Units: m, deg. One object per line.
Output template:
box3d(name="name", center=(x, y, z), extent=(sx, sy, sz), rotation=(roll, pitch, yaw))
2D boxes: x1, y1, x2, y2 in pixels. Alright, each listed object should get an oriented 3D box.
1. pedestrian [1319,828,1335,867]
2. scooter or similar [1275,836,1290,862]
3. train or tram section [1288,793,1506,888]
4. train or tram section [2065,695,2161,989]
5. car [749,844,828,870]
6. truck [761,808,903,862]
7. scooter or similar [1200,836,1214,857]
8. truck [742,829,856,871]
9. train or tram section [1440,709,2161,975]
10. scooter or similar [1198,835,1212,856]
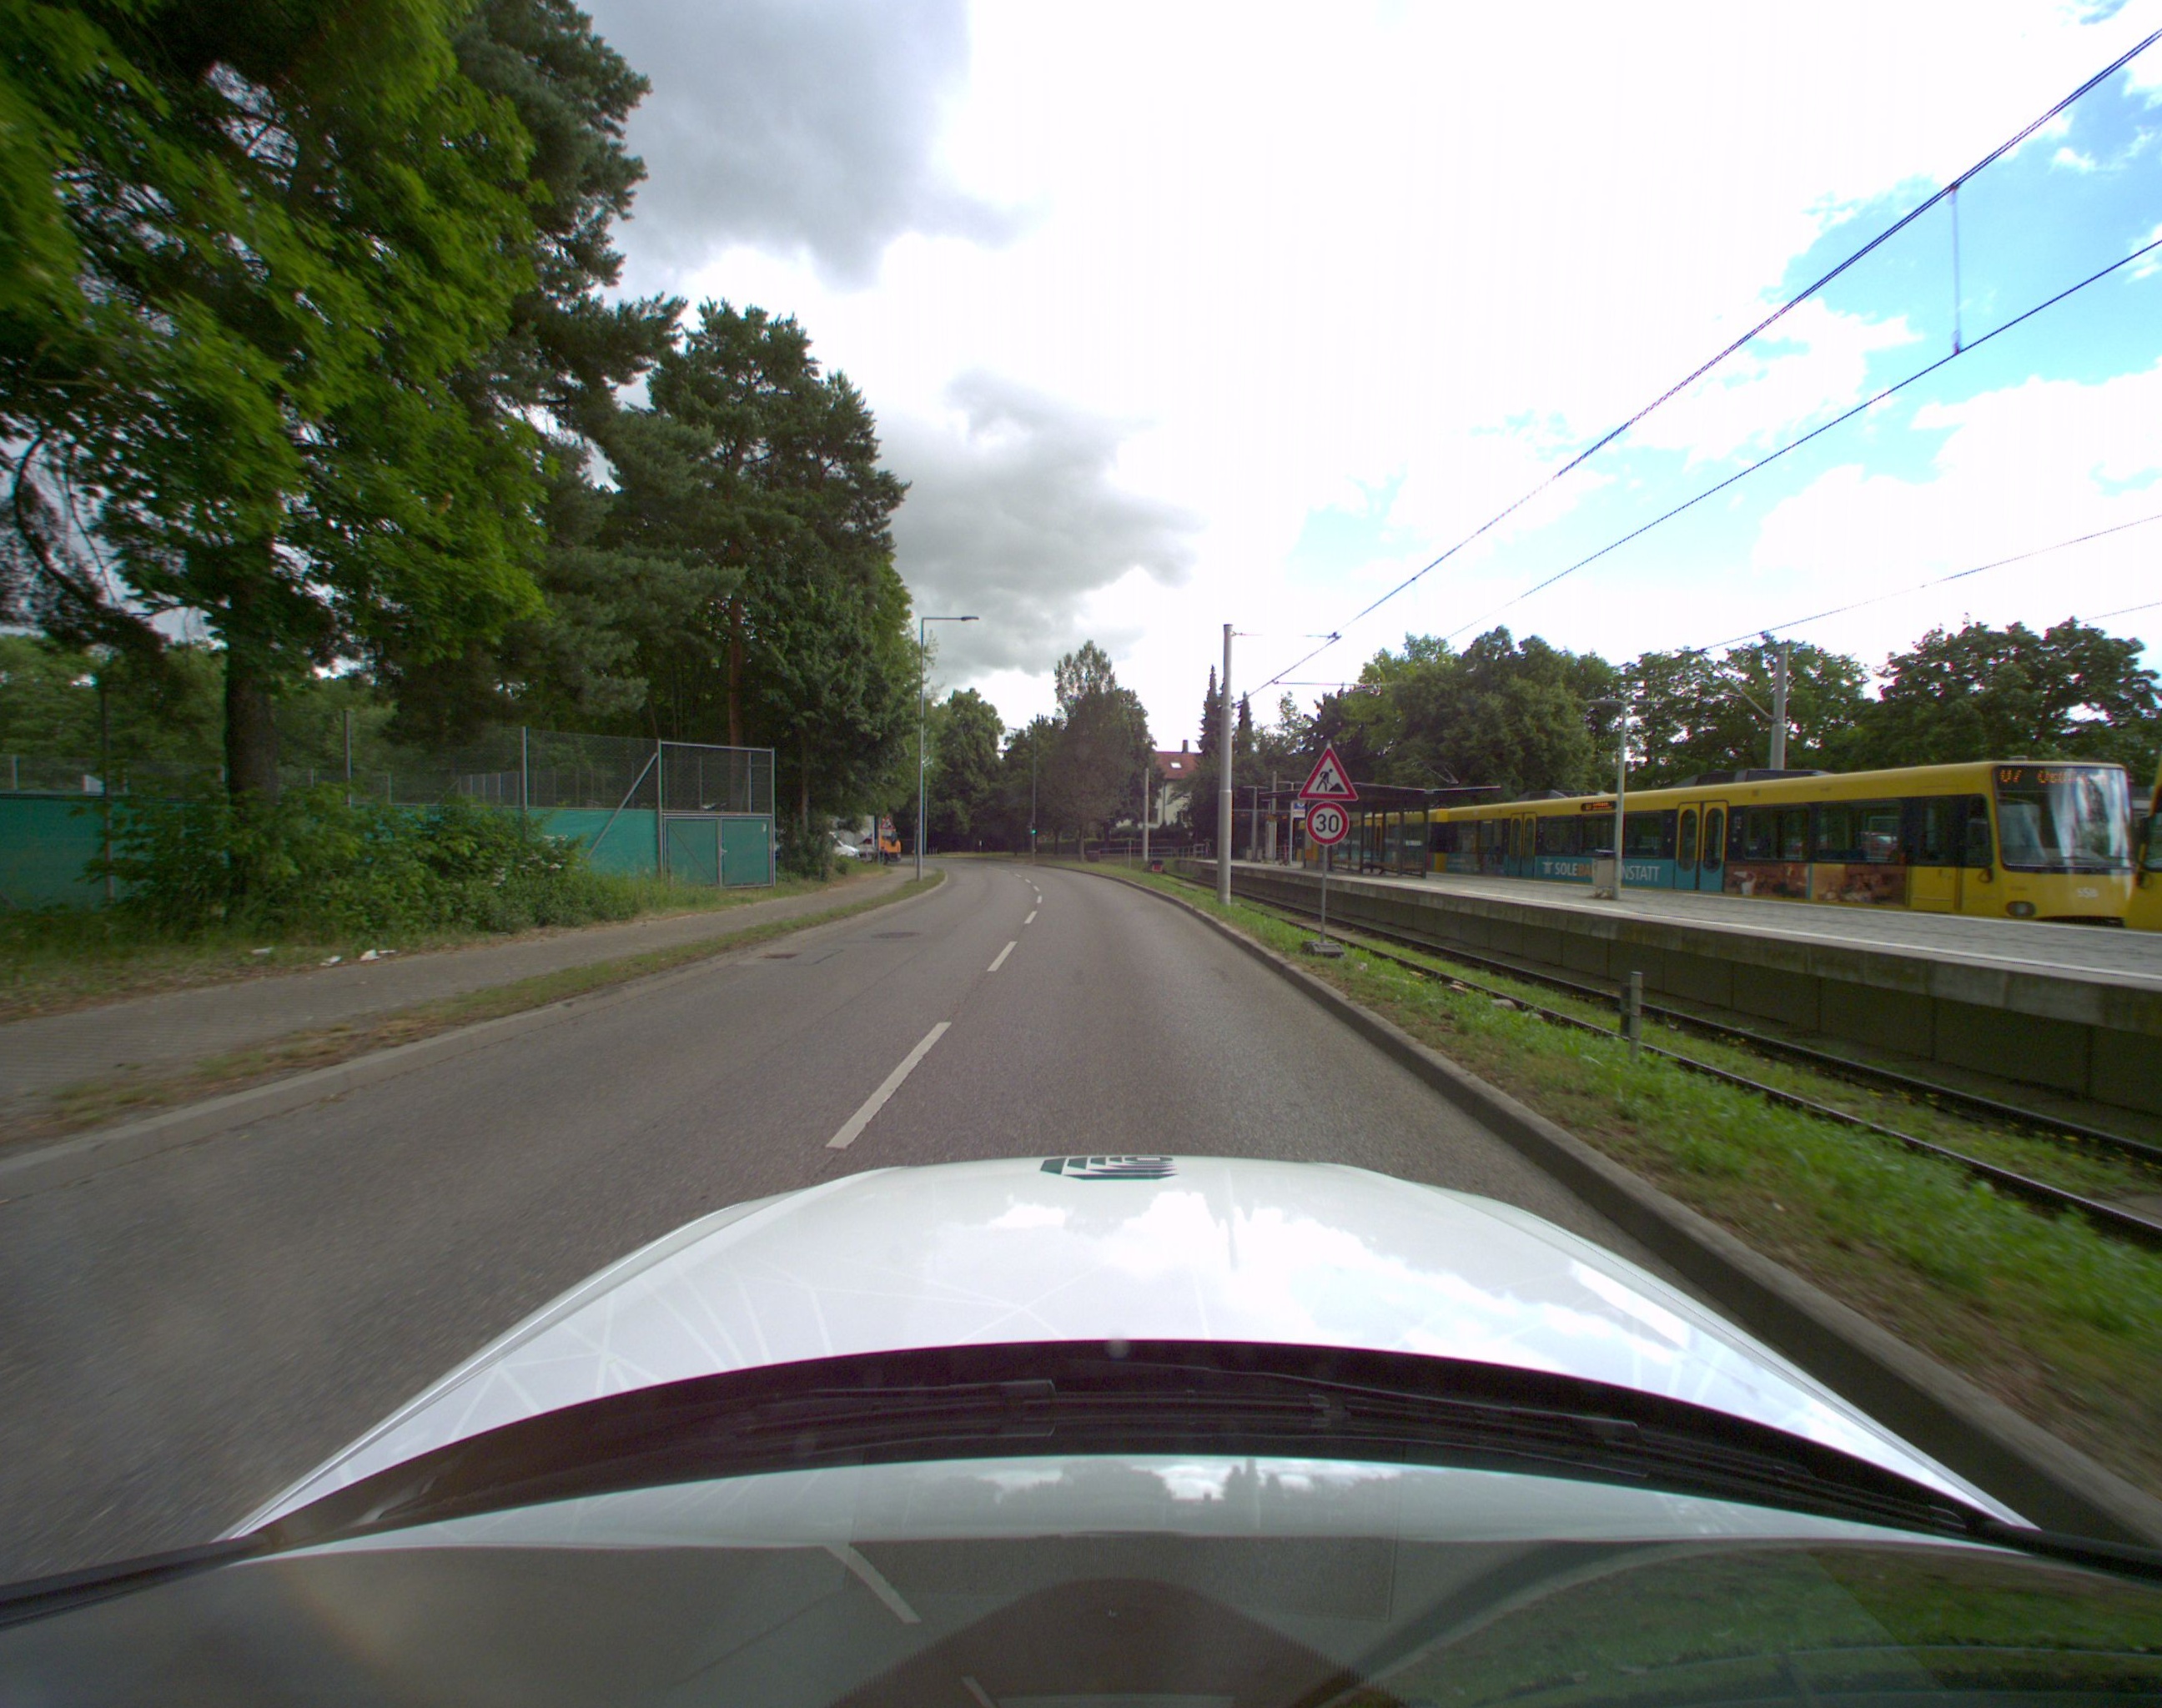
box3d(name="pedestrian", center=(10.127, -0.255, 33.519), extent=(0.618, 1.573, 0.668), rotation=(0, 0, 15))
box3d(name="scooter or similar", center=(9.731, -0.236, 39.353), extent=(0.367, 1.242, 1.145), rotation=(0, 1, -2))
box3d(name="train or tram section", center=(14.712, -0.717, 41.242), extent=(2.806, 3.588, 19.501), rotation=(2, 1, -2))
box3d(name="train or tram section", center=(15.080, 0.044, 2.038), extent=(2.802, 3.798, 18.944), rotation=(2, 1, 2))
box3d(name="car", center=(-16.271, 0.192, 45.300), extent=(4.005, 1.327, 1.703), rotation=(0, -2, -24))
box3d(name="truck", center=(-17.174, -1.250, 56.756), extent=(9.250, 3.531, 2.551), rotation=(0, 0, -16))
box3d(name="scooter or similar", center=(7.983, -0.479, 51.608), extent=(0.430, 1.253, 1.248), rotation=(-1, -1, -14))
box3d(name="truck", center=(-17.111, -0.206, 49.733), extent=(6.404, 2.416, 2.110), rotation=(1, -1, -19))
box3d(name="train or tram section", center=(15.345, -0.344, 21.341), extent=(2.805, 3.736, 19.505), rotation=(2, 1, -1))
box3d(name="scooter or similar", center=(7.507, -0.488, 49.436), extent=(0.430, 1.253, 1.250), rotation=(-1, -1, -11))
